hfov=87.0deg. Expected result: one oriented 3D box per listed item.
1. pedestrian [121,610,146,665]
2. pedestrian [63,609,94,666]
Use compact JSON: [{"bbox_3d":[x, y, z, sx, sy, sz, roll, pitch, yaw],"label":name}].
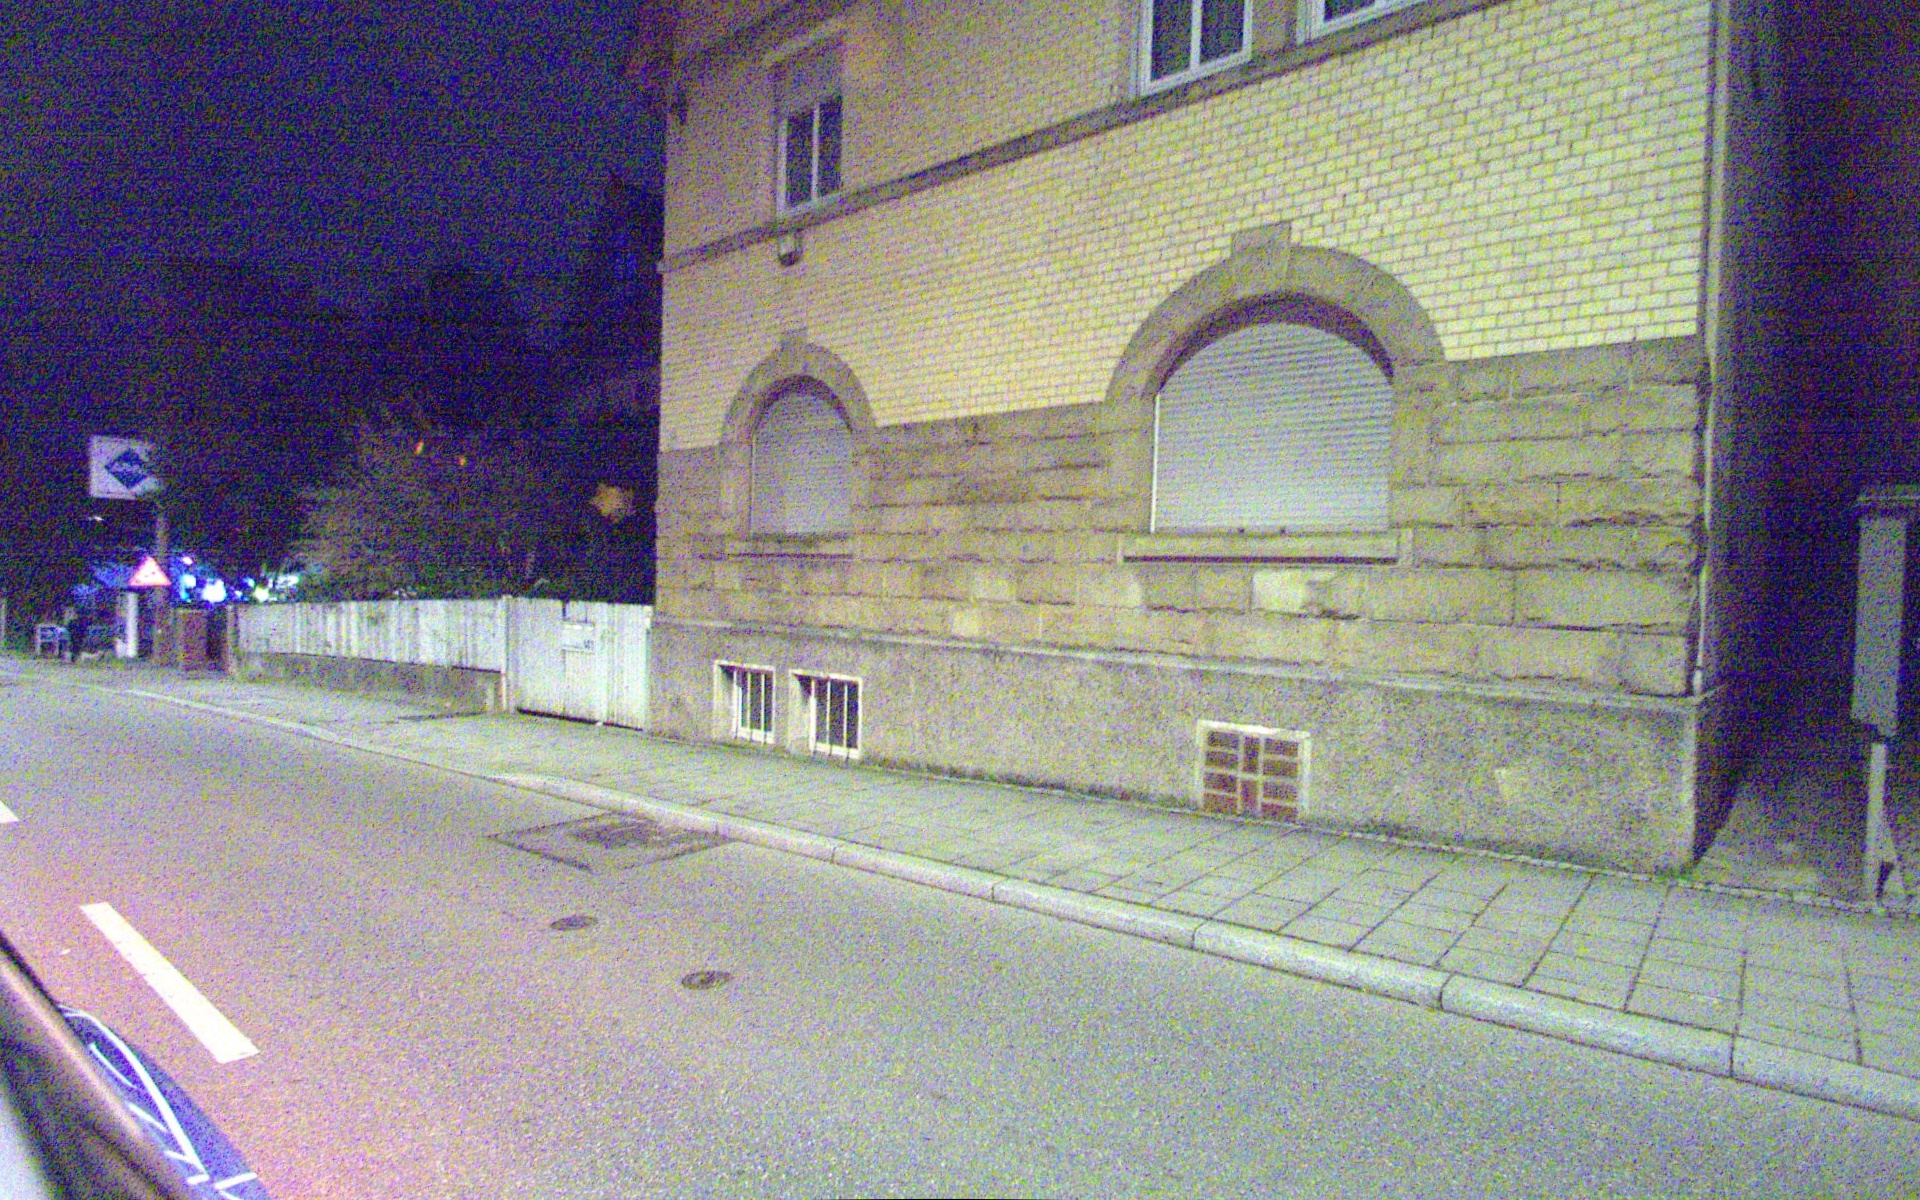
[{"bbox_3d":[-27.205,1.223,33.305,0.500,1.773,0.557,-1,0,41],"label":"pedestrian"},{"bbox_3d":[-28.054,1.185,32.211,0.500,1.773,0.664,-1,0,41],"label":"pedestrian"}]
